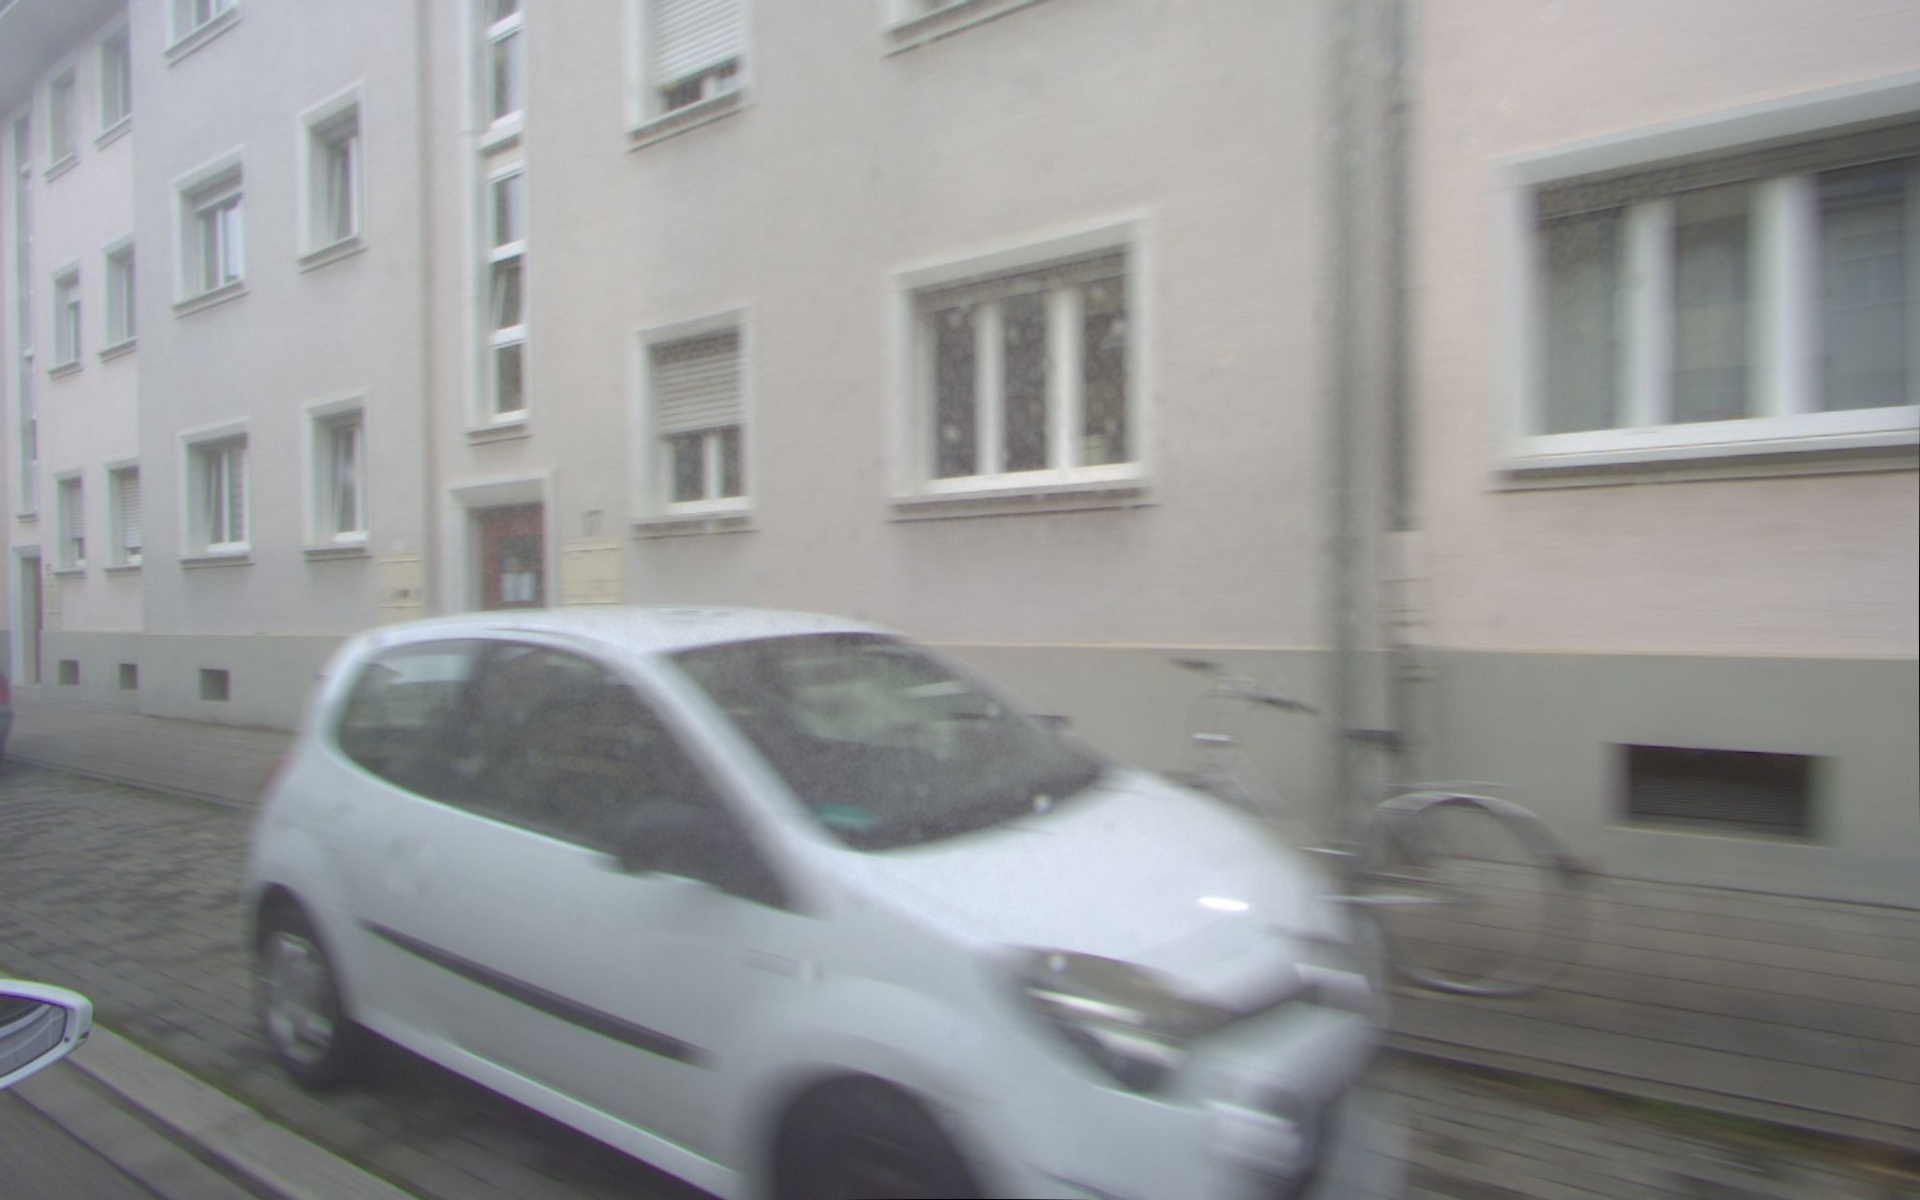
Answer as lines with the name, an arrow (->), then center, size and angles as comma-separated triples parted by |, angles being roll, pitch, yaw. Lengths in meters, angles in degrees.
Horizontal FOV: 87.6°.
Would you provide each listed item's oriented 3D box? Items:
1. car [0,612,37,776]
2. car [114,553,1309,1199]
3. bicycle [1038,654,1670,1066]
car -> -10.783, 0.863, 9.645 | 4.202, 1.488, 1.722 | 0, 0, 32
car -> -0.985, 0.754, 3.317 | 3.751, 1.620, 1.779 | 0, 0, 33
bicycle -> 1.365, 0.814, 3.775 | 2.094, 1.155, 0.604 | 0, 0, 32
